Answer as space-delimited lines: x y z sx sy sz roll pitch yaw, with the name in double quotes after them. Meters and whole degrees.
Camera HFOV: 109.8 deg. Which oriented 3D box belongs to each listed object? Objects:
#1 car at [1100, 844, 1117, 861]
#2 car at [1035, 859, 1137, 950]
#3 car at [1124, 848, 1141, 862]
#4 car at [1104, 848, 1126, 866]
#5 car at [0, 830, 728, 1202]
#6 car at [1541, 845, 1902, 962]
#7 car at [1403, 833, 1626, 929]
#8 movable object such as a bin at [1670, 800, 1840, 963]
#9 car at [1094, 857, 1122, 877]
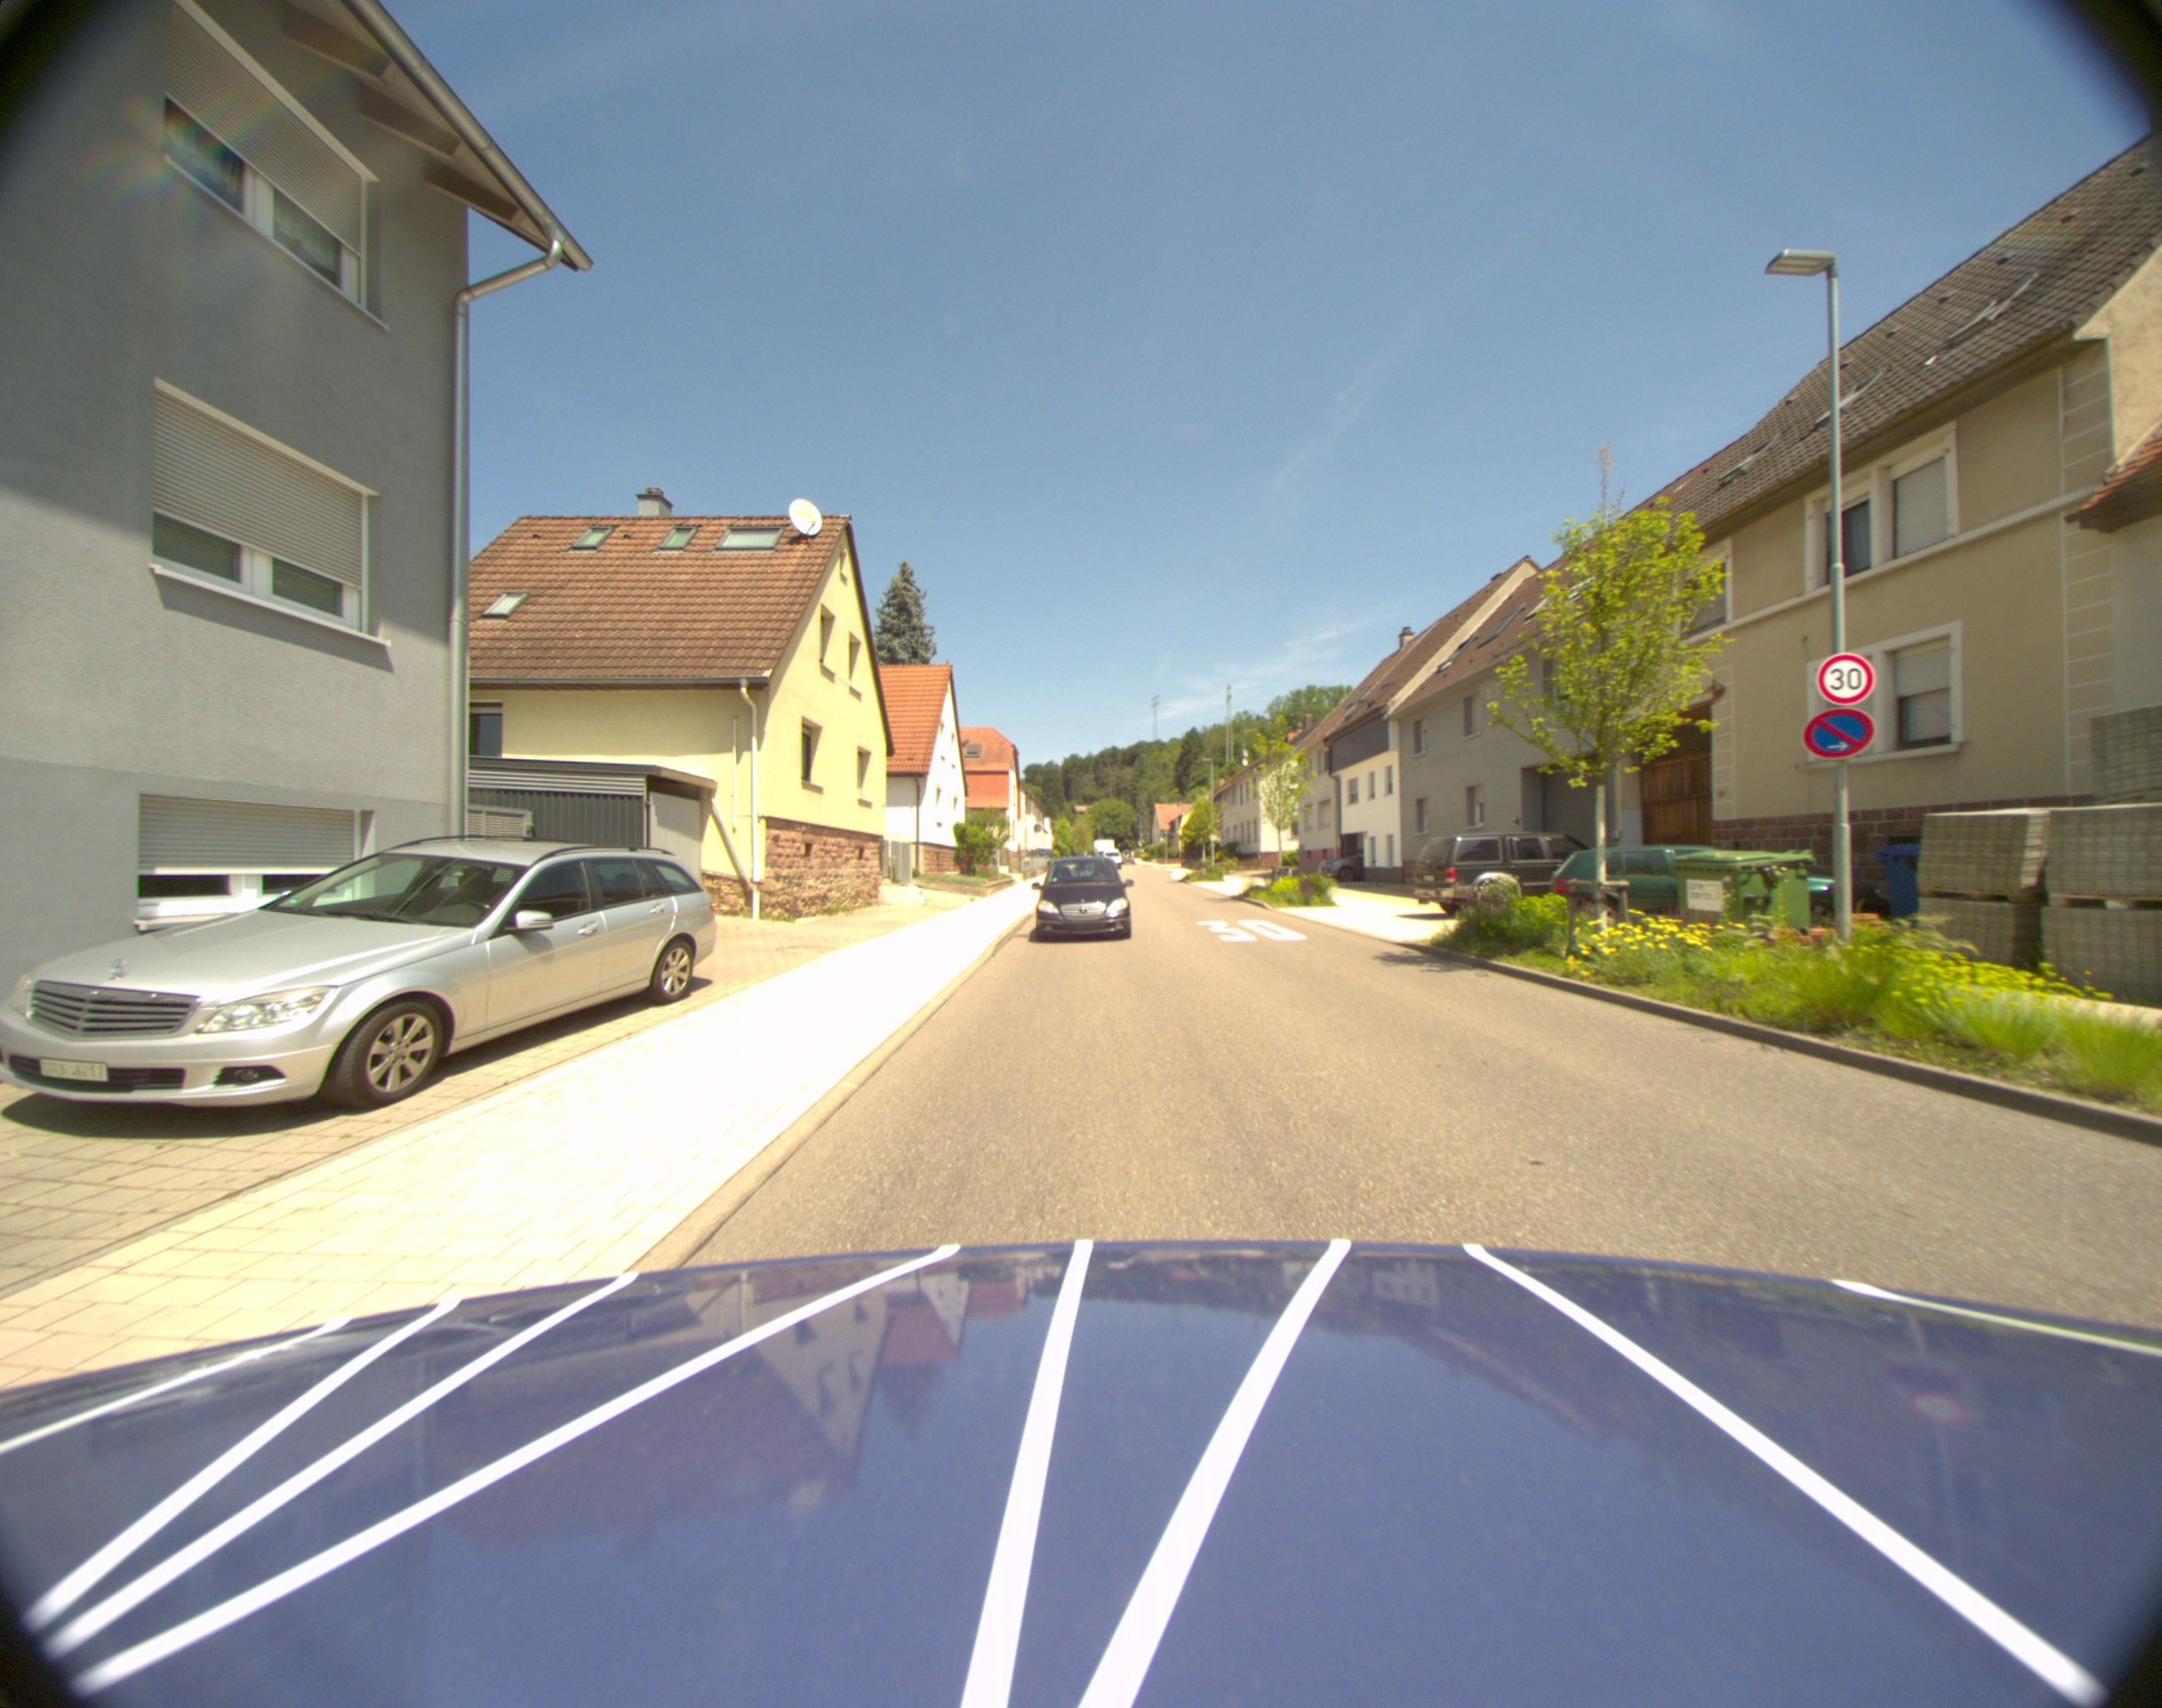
3.647 -0.191 102.386 1.987 2.170 3.999 -2 1 0 "car"
0.175 0.934 16.062 1.767 1.571 4.932 -2 -1 2 "car"
7.512 0.124 110.645 2.371 1.989 5.173 -2 1 4 "car"
3.507 0.323 79.770 1.999 1.716 4.000 -2 0 -1 "car"
-4.724 0.699 5.696 1.867 1.612 4.508 3 1 2 "car"
9.654 0.686 11.835 4.040 1.491 1.707 -2 1 39 "car"
9.030 0.522 16.052 3.606 1.780 1.848 -2 1 -1 "car"
8.936 0.342 10.154 1.062 2.002 1.323 -2 1 1 "movable object such as a bin"
2.095 1.004 60.741 1.999 1.477 4.222 -2 0 -1 "car"
